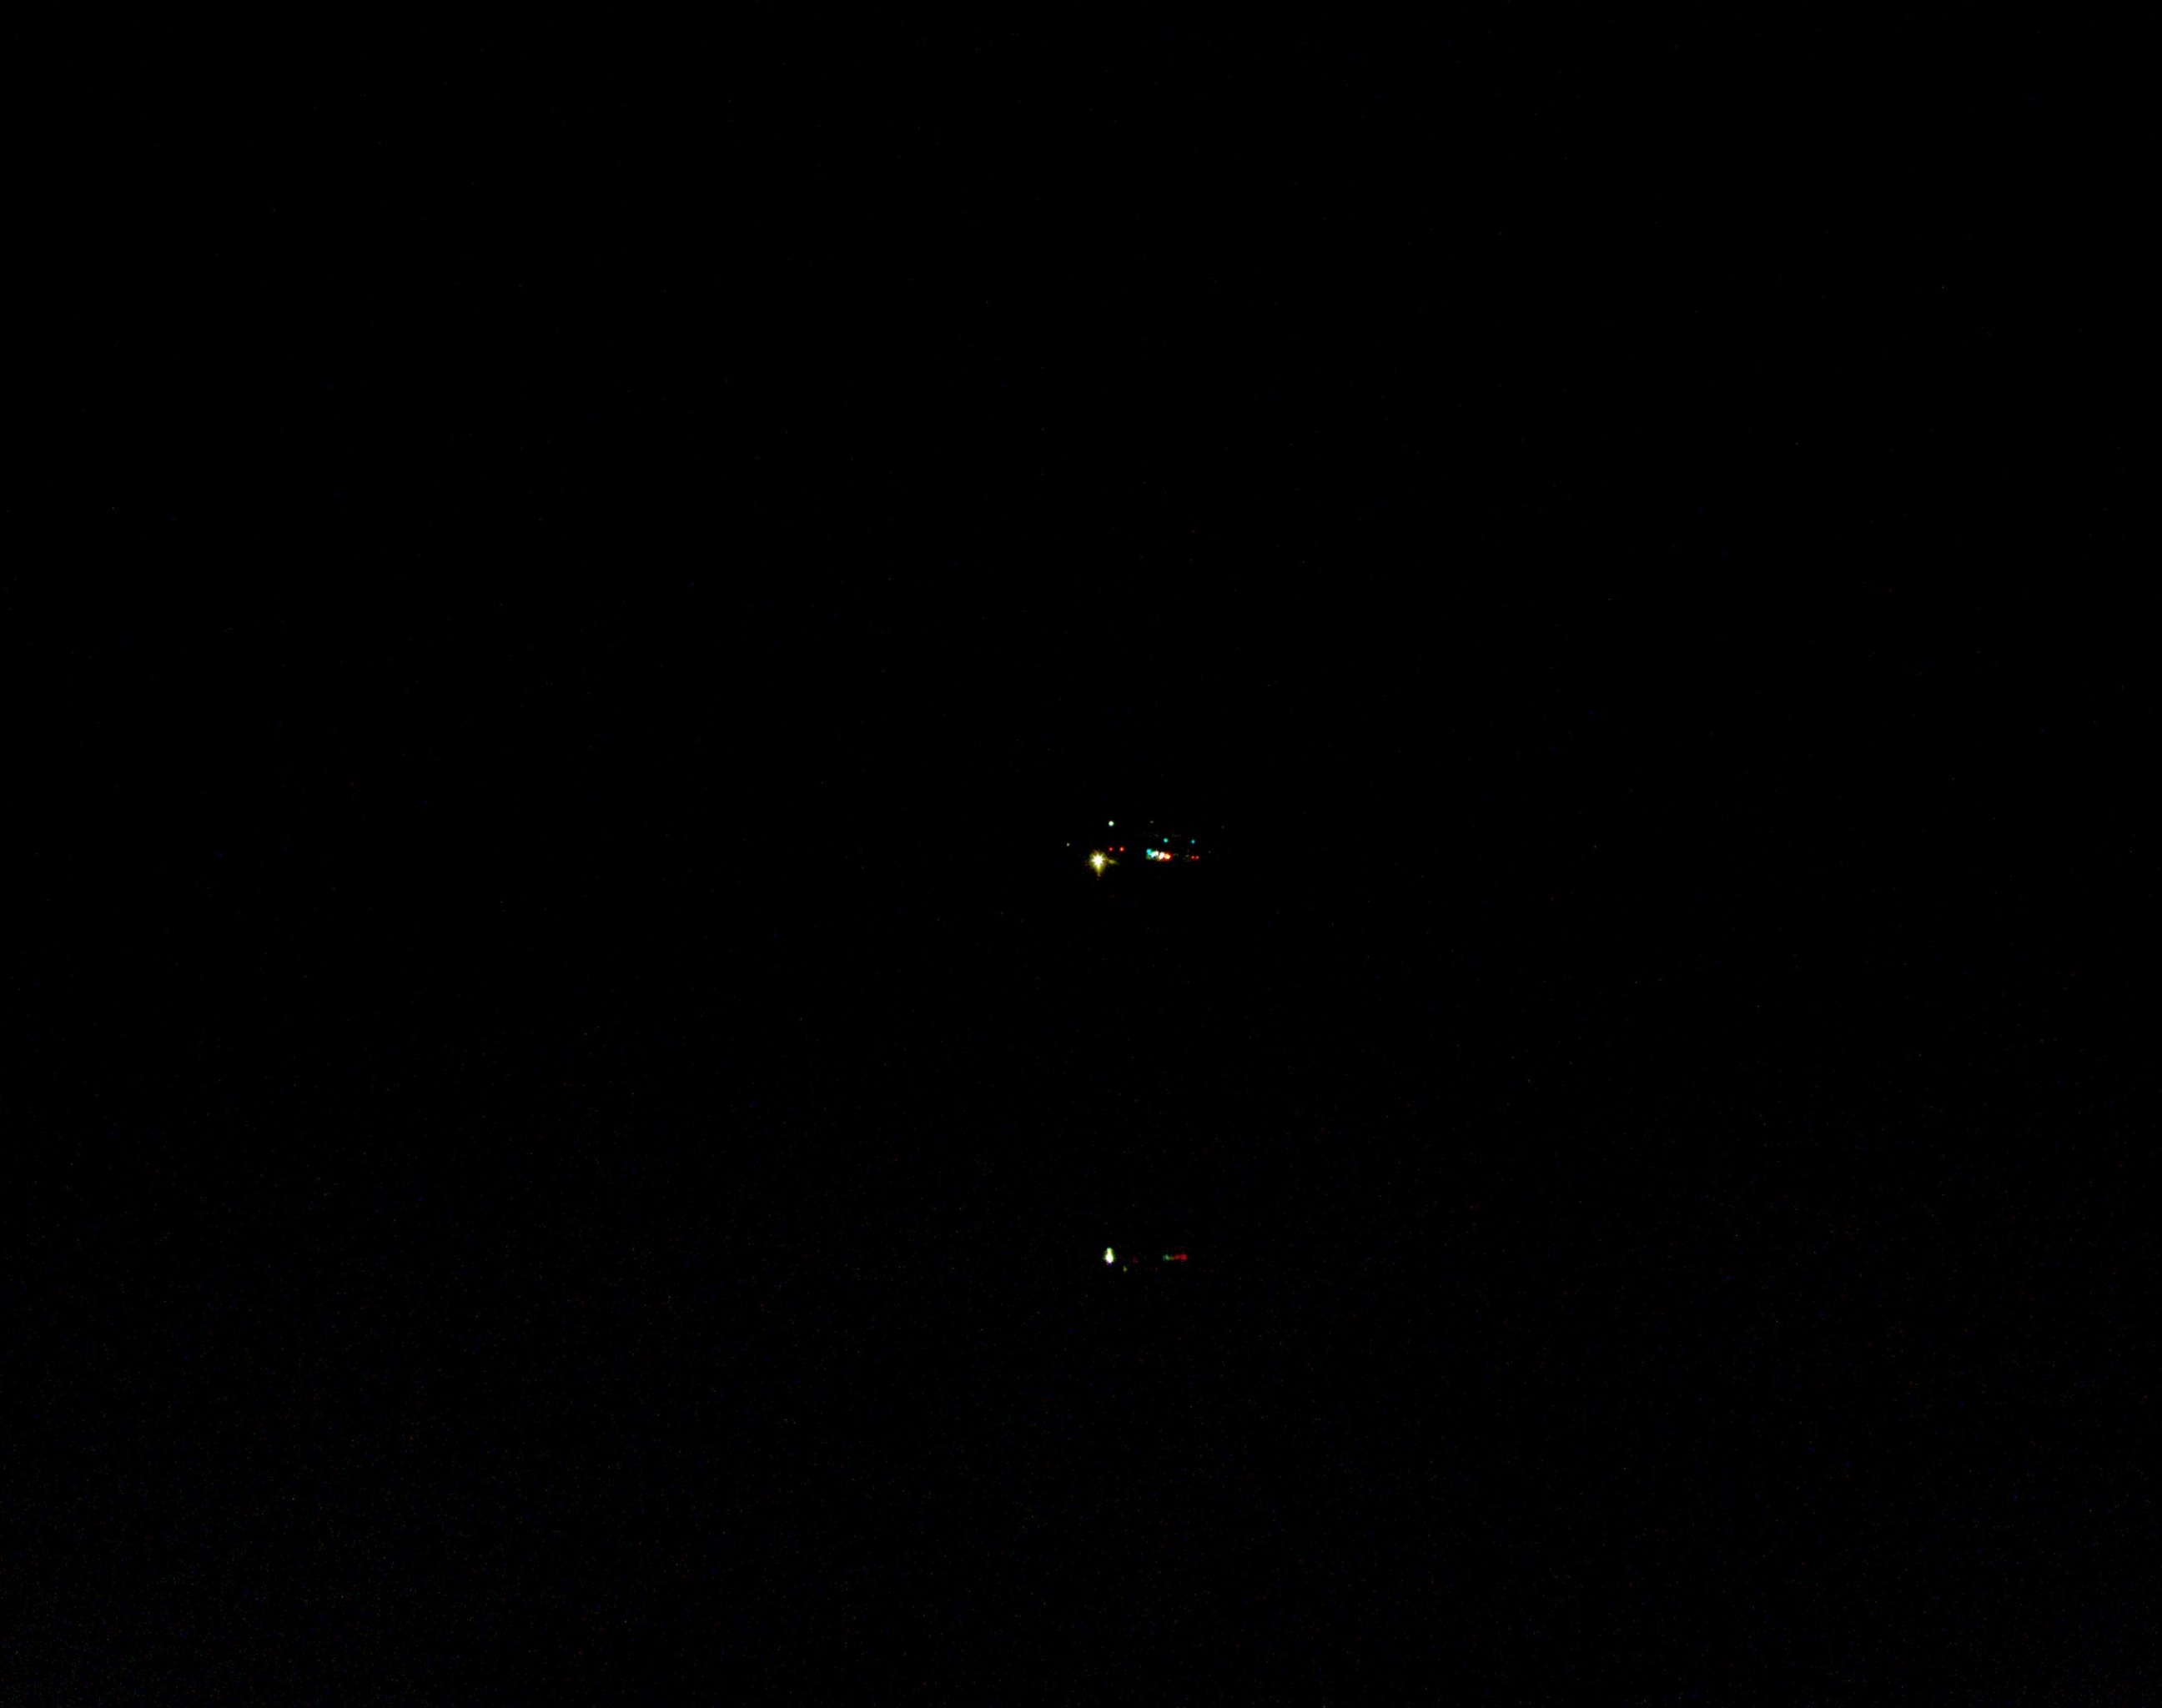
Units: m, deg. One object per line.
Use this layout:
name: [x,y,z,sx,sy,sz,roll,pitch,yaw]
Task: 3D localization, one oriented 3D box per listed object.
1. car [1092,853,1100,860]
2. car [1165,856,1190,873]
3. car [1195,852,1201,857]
car: [2.961,0.453,148.129,1.570,1.336,4.166,-2,0,1]
car: [8.818,0.921,69.679,1.724,1.399,4.574,-2,1,1]
car: [34.964,0.160,227.699,1.655,1.467,4.003,-2,1,10]
